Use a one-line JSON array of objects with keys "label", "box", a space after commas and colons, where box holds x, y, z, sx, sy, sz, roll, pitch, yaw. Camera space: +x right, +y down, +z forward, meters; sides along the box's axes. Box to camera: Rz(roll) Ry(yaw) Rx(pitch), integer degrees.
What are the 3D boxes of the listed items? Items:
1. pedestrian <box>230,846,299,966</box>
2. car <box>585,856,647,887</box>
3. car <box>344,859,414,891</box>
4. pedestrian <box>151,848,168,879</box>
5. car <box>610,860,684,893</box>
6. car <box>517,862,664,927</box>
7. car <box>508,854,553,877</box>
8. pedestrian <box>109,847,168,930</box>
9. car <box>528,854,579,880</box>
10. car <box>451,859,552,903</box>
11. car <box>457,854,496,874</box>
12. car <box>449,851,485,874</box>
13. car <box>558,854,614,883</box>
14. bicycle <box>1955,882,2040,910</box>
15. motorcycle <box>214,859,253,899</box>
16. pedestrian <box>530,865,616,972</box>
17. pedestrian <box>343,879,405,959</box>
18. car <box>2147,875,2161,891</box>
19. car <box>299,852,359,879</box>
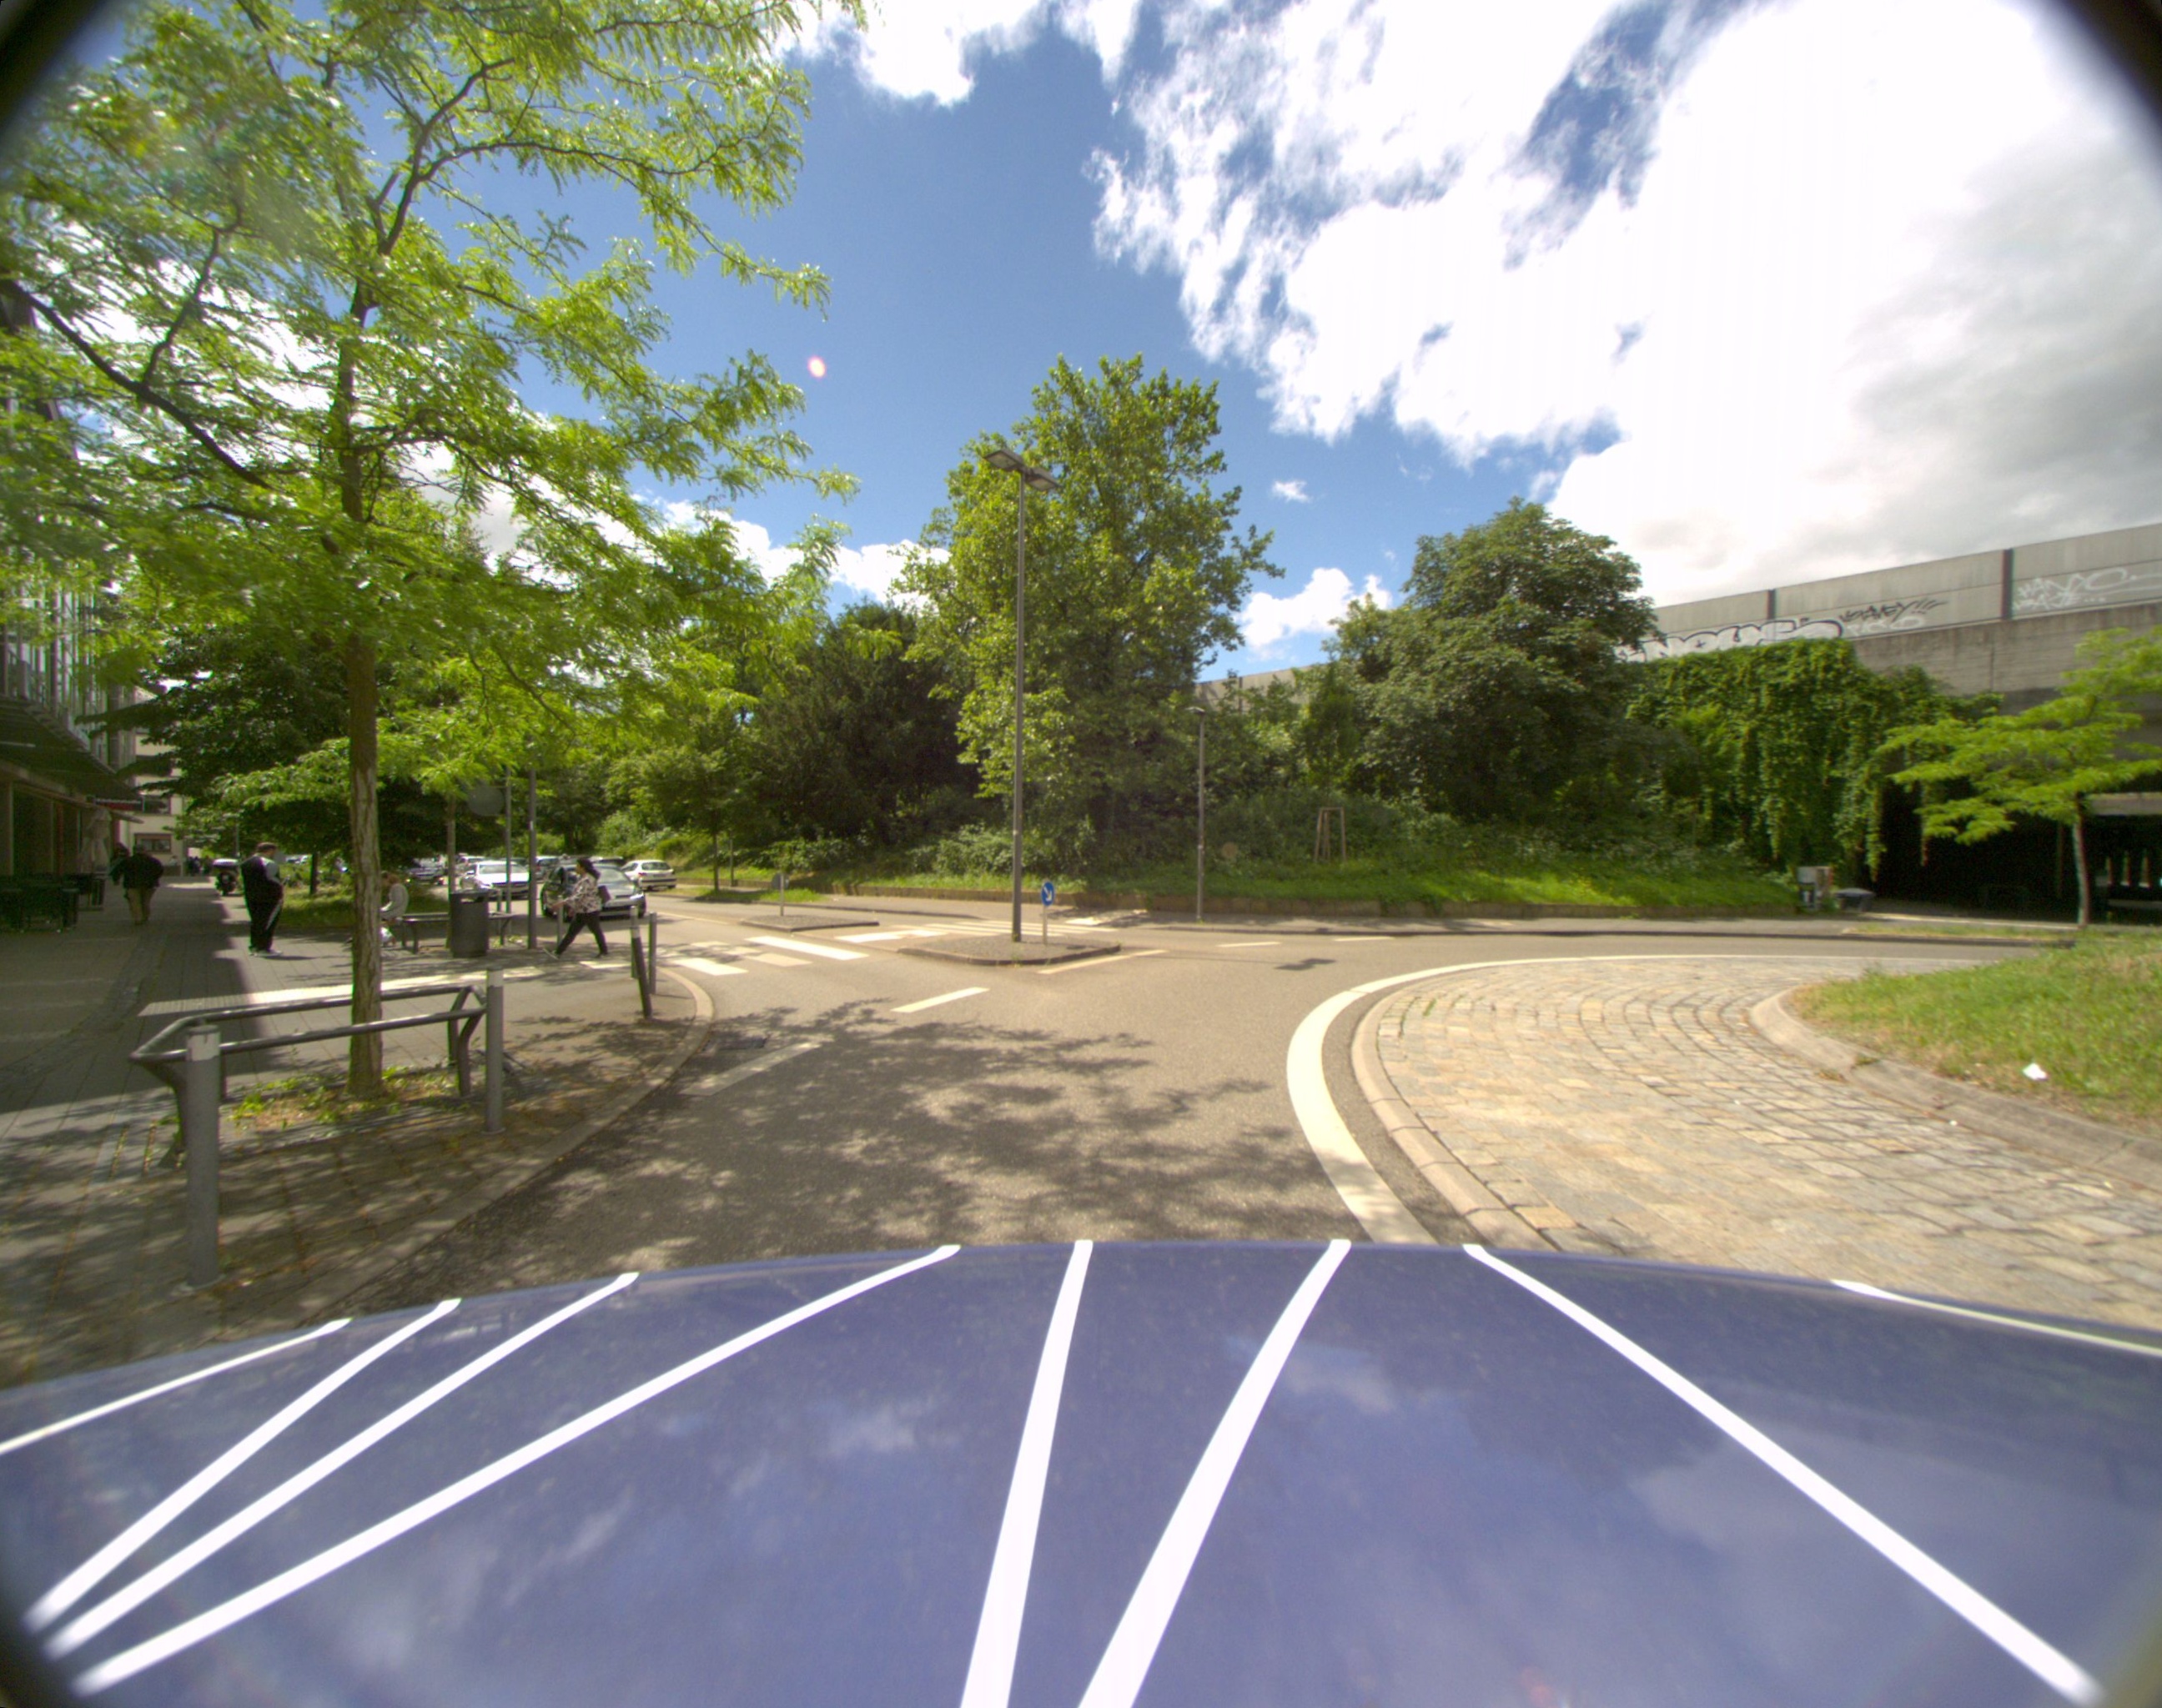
[{"label": "pedestrian", "box": [-12.691, 0.781, 11.828, 0.615, 1.808, 0.699, 1, 1, 45]}, {"label": "car", "box": [-24.129, 0.871, 39.337, 1.939, 1.477, 3.988, 1, -1, -43]}, {"label": "car", "box": [-34.360, 0.985, 37.148, 4.571, 1.499, 2.005, 0, -1, 41]}, {"label": "pedestrian", "box": [-51.077, 0.535, 42.110, 0.660, 1.664, 0.583, 0, 0, 37]}, {"label": "car", "box": [-20.087, 0.980, 35.125, 3.988, 1.323, 1.760, 0, 3, 42]}, {"label": "car", "box": [-13.233, 0.988, 20.411, 4.571, 1.499, 2.004, 0, 1, 40]}, {"label": "car", "box": [-37.056, 0.759, 51.105, 1.939, 1.477, 3.988, 1, -1, -43]}, {"label": "pedestrian", "box": [-19.444, 0.691, 15.674, 0.696, 1.664, 0.618, 0, 0, 26]}, {"label": "car", "box": [-31.853, 0.761, 45.832, 1.939, 1.477, 3.988, 1, -1, -43]}, {"label": "car", "box": [-22.071, 0.951, 28.898, 4.571, 1.499, 2.004, 0, 1, 39]}, {"label": "car", "box": [-45.206, 0.735, 56.825, 1.939, 1.477, 3.988, 1, -1, -43]}, {"label": "car", "box": [-49.763, 0.653, 61.581, 1.939, 1.793, 3.988, 1, -1, -43]}, {"label": "car", "box": [-27.833, 0.786, 42.650, 1.939, 1.477, 3.988, 1, 0, -43]}, {"label": "bicycle", "box": [33.854, 1.546, 28.105, 0.508, 0.899, 1.945, 0, 2, -44]}, {"label": "motorcycle", "box": [-28.852, 0.827, 25.873, 2.180, 1.284, 0.859, 1, 1, 42]}, {"label": "pedestrian", "box": [-7.649, 0.949, 11.474, 0.779, 1.544, 0.765, 0, 0, -3]}, {"label": "pedestrian", "box": [-11.817, 1.058, 12.717, 0.699, 1.277, 0.616, 1, 0, -38]}, {"label": "car", "box": [102.190, 2.755, 71.469, 3.861, 1.439, 1.671, 1, 1, -44]}, {"label": "car", "box": [-43.466, 0.640, 43.896, 4.571, 1.499, 2.005, 0, -1, 39]}]
